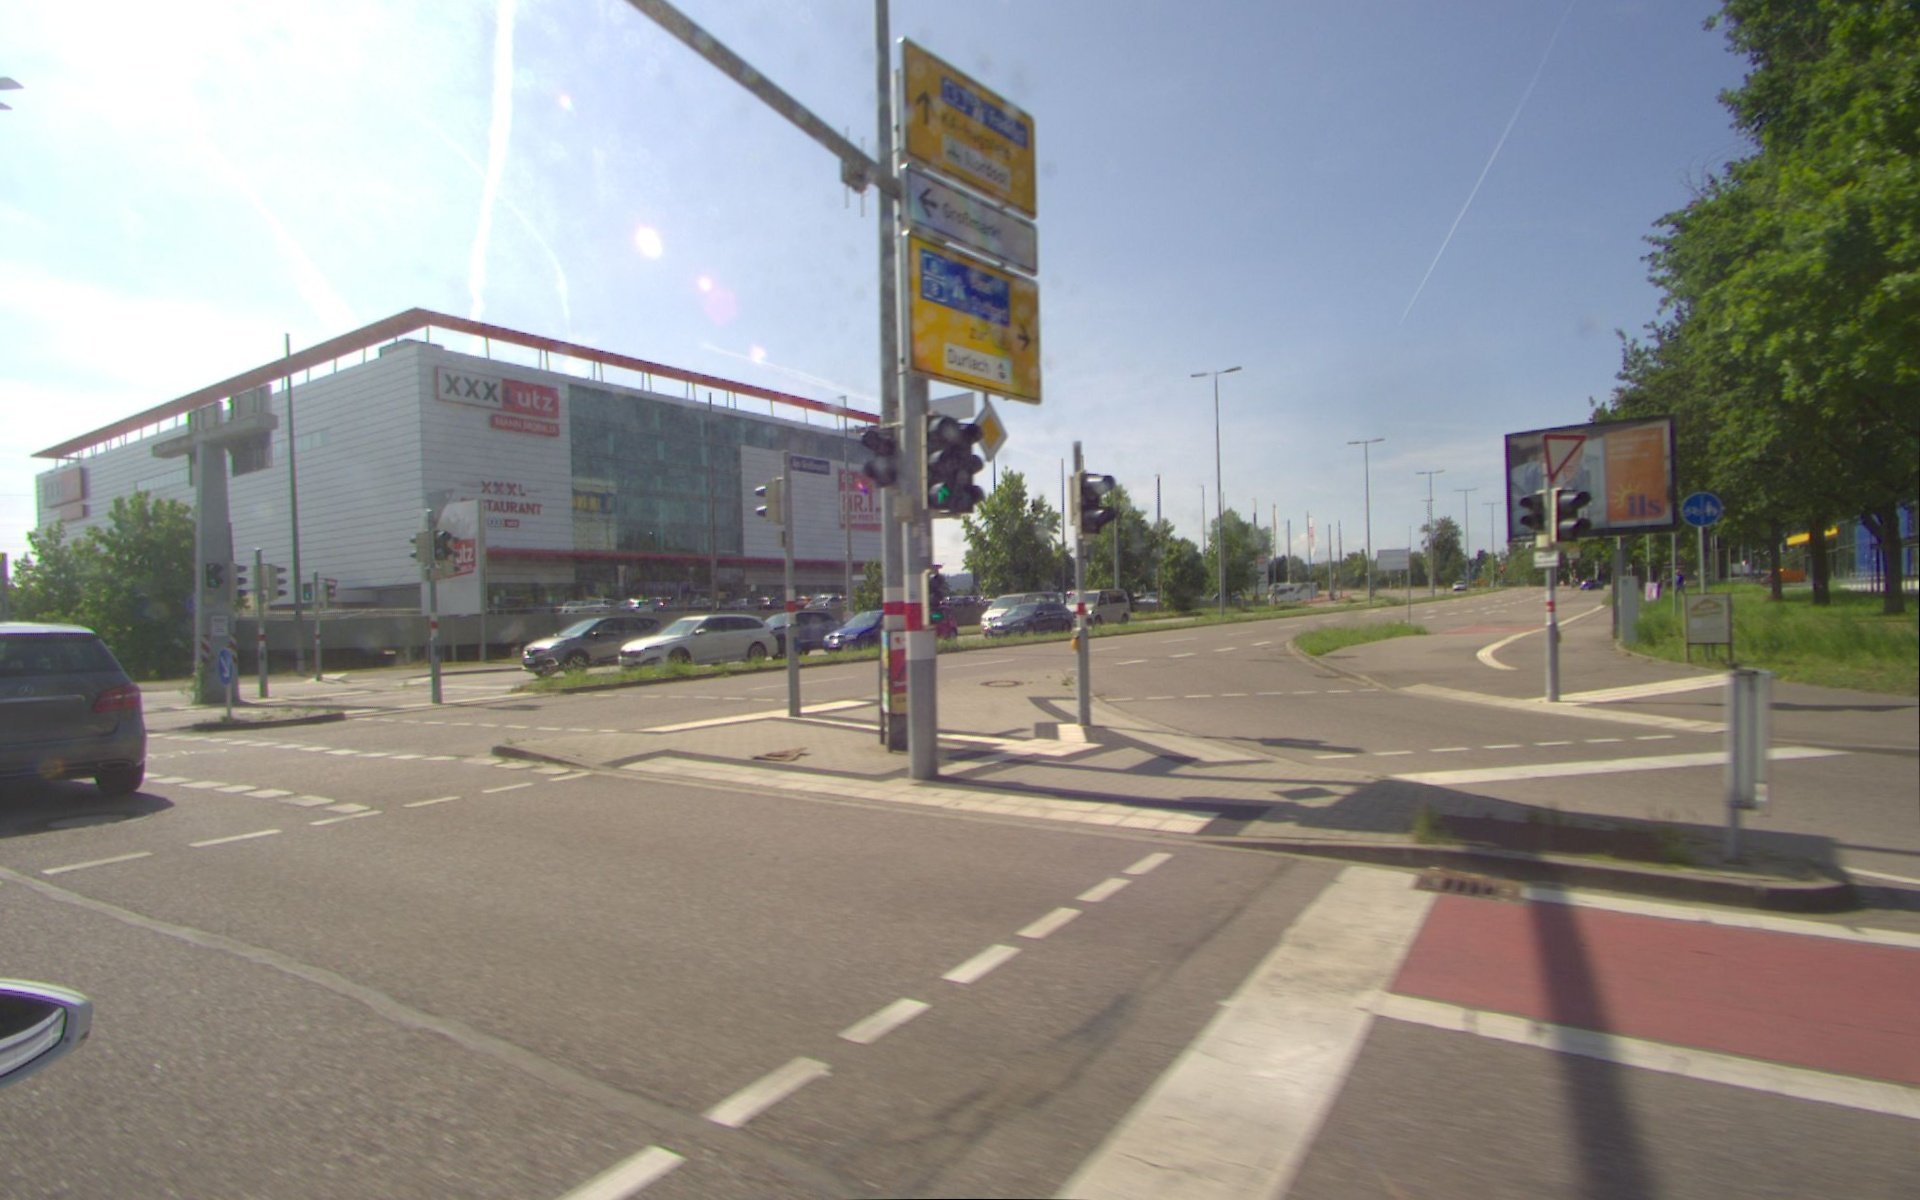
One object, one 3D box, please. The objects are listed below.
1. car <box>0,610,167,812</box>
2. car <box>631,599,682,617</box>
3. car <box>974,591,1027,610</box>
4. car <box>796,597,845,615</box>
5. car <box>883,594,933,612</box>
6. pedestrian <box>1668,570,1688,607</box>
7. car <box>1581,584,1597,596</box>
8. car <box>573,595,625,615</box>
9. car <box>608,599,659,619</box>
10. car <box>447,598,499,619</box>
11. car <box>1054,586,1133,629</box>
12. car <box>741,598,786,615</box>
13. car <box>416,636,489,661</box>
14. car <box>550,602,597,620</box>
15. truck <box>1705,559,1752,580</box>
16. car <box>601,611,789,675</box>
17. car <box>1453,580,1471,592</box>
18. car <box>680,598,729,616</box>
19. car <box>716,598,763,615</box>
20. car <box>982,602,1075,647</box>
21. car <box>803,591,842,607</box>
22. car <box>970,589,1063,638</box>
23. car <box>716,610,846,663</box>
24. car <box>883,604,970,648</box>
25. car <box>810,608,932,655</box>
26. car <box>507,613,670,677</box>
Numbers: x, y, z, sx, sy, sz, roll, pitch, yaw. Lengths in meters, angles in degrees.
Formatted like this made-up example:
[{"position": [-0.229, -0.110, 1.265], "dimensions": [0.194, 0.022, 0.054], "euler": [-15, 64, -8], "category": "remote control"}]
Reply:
[{"position": [-9.019, 0.918, 9.034], "dimensions": [4.081, 1.559, 1.770], "euler": [-2, -1, 34], "category": "car"}, {"position": [-25.246, 0.665, 83.240], "dimensions": [4.145, 1.438, 1.866], "euler": [-2, 0, 35], "category": "car"}, {"position": [3.333, 0.066, 82.972], "dimensions": [4.145, 1.438, 1.679], "euler": [-2, 0, 36], "category": "car"}, {"position": [-11.921, 0.490, 85.519], "dimensions": [4.145, 1.438, 1.679], "euler": [-2, 0, 36], "category": "car"}, {"position": [-4.547, 0.291, 86.819], "dimensions": [4.052, 1.438, 1.783], "euler": [-2, 0, 33], "category": "car"}, {"position": [40.291, -0.630, 56.199], "dimensions": [0.670, 2.038, 0.600], "euler": [-2, -2, 19], "category": "pedestrian"}, {"position": [83.185, -1.311, 132.378], "dimensions": [1.619, 1.555, 3.892], "euler": [-2, 0, 35], "category": "car"}, {"position": [-28.387, 0.413, 78.684], "dimensions": [3.952, 1.438, 1.795], "euler": [-2, 0, 33], "category": "car"}, {"position": [-26.286, 0.726, 80.573], "dimensions": [4.145, 1.438, 1.826], "euler": [-2, 0, 35], "category": "car"}, {"position": [-36.706, 0.636, 75.418], "dimensions": [4.145, 1.438, 1.765], "euler": [-2, 0, 36], "category": "car"}, {"position": [6.802, 0.364, 50.577], "dimensions": [1.890, 1.960, 4.759], "euler": [-3, -1, 36], "category": "car"}, {"position": [-18.181, 0.603, 92.772], "dimensions": [4.145, 1.438, 1.730], "euler": [-2, 0, 36], "category": "car"}, {"position": [-33.944, 3.240, 67.077], "dimensions": [1.772, 1.542, 4.109], "euler": [-1, -2, 28], "category": "car"}, {"position": [-32.704, 0.957, 84.754], "dimensions": [3.858, 1.438, 1.682], "euler": [-2, 0, 30], "category": "car"}, {"position": [126.392, -4.994, 164.780], "dimensions": [5.894, 3.065, 1.990], "euler": [-3, -3, 32], "category": "truck"}, {"position": [-7.010, 1.110, 26.938], "dimensions": [1.934, 1.444, 4.701], "euler": [-3, -1, 36], "category": "car"}, {"position": [76.244, -2.110, 152.081], "dimensions": [1.859, 1.706, 3.975], "euler": [-2, 1, 34], "category": "car"}, {"position": [-22.237, 0.591, 87.136], "dimensions": [4.145, 1.438, 1.894], "euler": [-2, 0, 35], "category": "car"}, {"position": [-20.018, 0.600, 90.956], "dimensions": [4.144, 1.438, 1.799], "euler": [-2, 0, 35], "category": "car"}, {"position": [2.740, 0.922, 39.378], "dimensions": [1.663, 1.641, 4.101], "euler": [-2, 0, 38], "category": "car"}, {"position": [-14.853, -0.084, 107.916], "dimensions": [4.145, 1.642, 1.679], "euler": [-2, 0, 36], "category": "car"}, {"position": [2.605, 0.562, 45.098], "dimensions": [1.938, 2.001, 4.658], "euler": [-4, -1, 36], "category": "car"}, {"position": [-5.848, 1.180, 33.137], "dimensions": [1.884, 1.528, 4.015], "euler": [-3, -1, 35], "category": "car"}, {"position": [-1.258, 0.993, 39.086], "dimensions": [1.578, 1.596, 3.457], "euler": [-1, 0, 37], "category": "car"}, {"position": [-2.796, 0.979, 32.292], "dimensions": [1.701, 1.359, 4.032], "euler": [-3, -1, 35], "category": "car"}, {"position": [-10.157, 1.198, 27.609], "dimensions": [1.786, 1.579, 3.871], "euler": [-2, -1, 37], "category": "car"}]
